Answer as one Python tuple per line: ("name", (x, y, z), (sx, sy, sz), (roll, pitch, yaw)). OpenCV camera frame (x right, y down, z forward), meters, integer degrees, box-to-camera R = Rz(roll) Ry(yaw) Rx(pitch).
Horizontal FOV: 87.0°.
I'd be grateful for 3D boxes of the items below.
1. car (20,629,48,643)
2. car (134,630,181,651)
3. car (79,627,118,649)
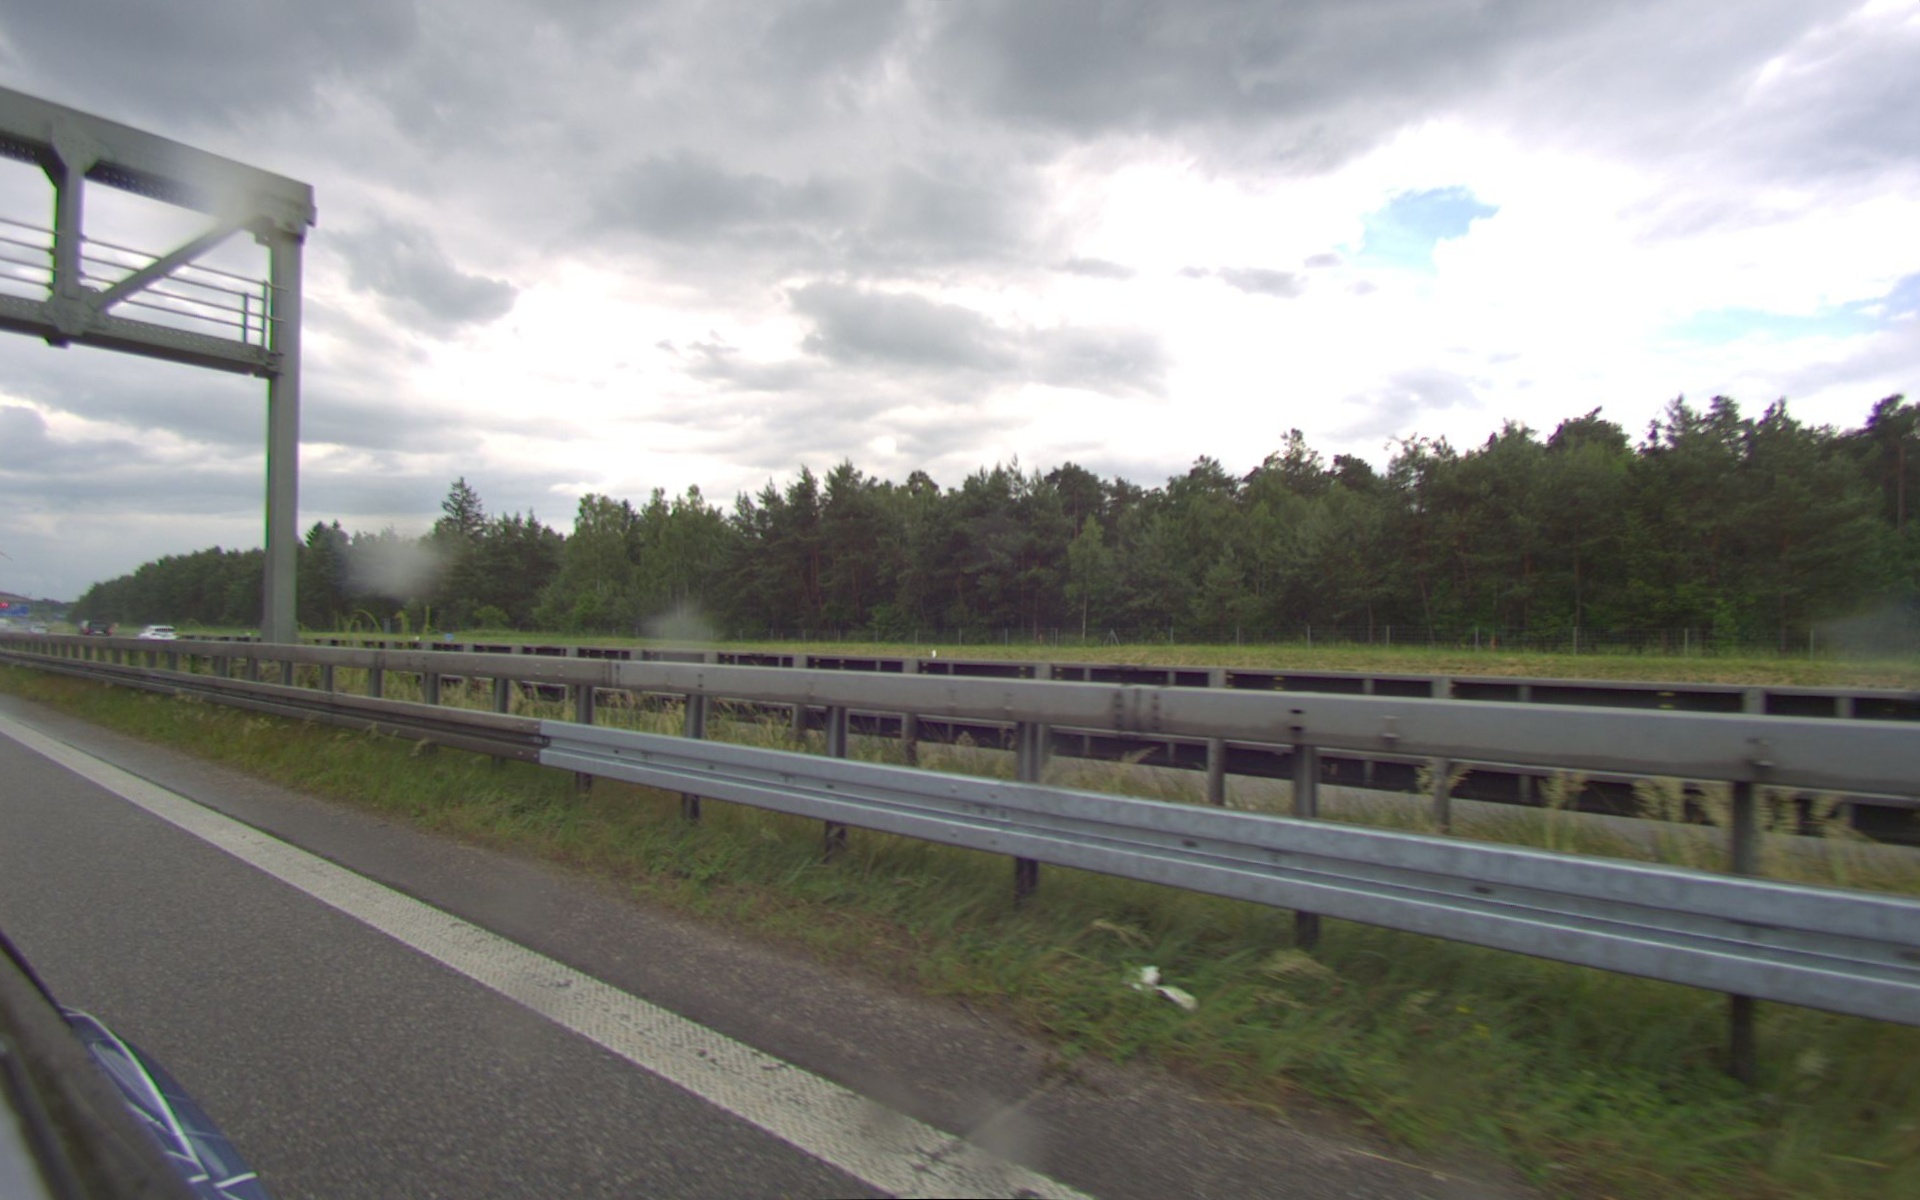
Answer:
("car", (-110.097, 4.263, 120.349), (4.607, 1.512, 1.972), (-1, -4, 42))
("car", (-58.064, 2.953, 73.193), (4.318, 1.456, 1.830), (-1, -3, 40))
("car", (-78.906, 3.475, 92.640), (4.722, 1.931, 1.972), (-2, -4, 41))
